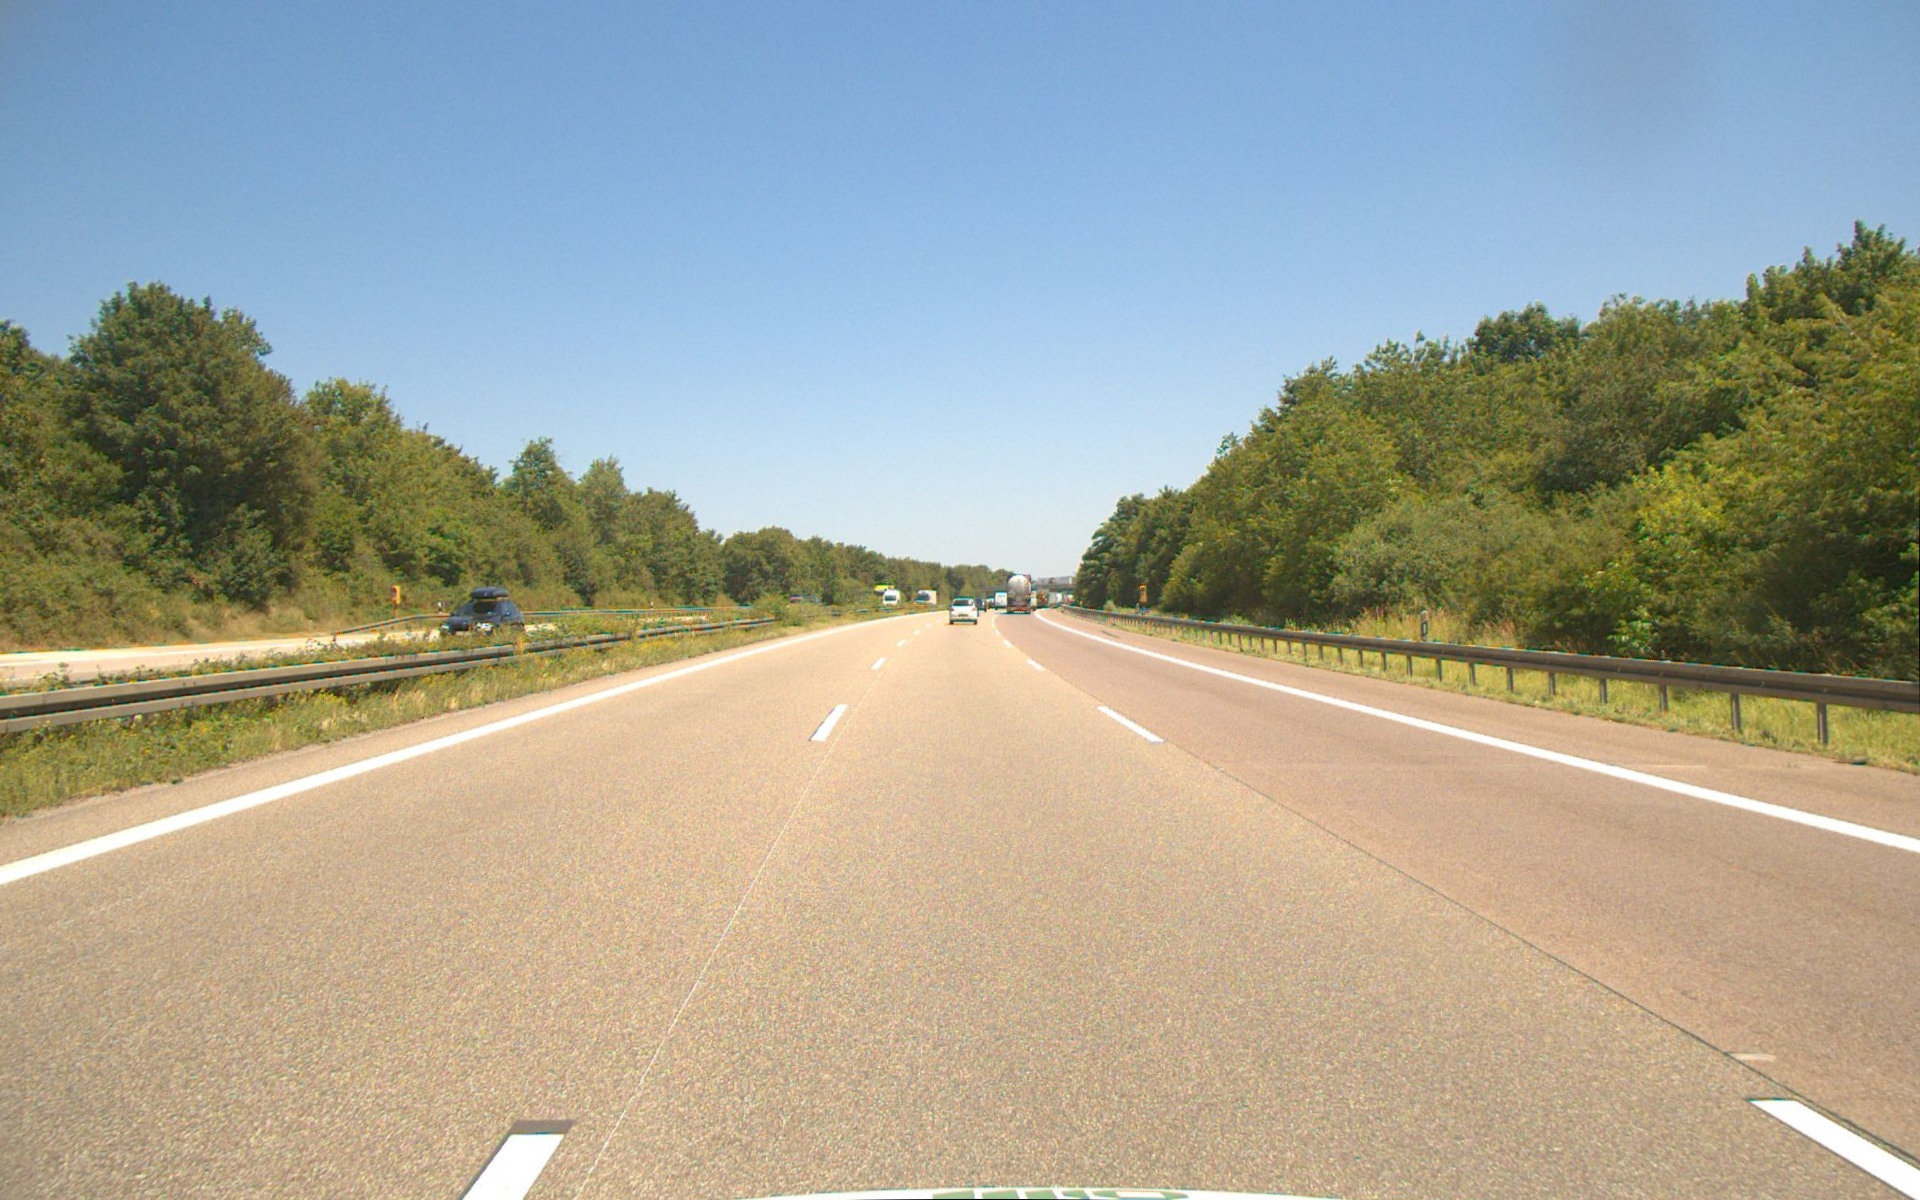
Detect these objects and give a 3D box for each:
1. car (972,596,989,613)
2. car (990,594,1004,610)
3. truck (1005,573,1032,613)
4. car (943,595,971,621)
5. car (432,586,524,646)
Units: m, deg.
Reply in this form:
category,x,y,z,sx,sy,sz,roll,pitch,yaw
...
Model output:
category,x,y,z,sx,sy,sz,roll,pitch,yaw
car,2.531,0.572,201.643,1.952,2.049,4.001,-1,0,2
car,5.573,0.286,247.094,1.952,2.384,4.388,0,0,2
truck,6.246,-0.711,174.204,2.682,4.123,10.458,0,0,3
car,-0.187,0.494,98.685,1.594,1.505,3.999,0,0,-1
car,-16.347,0.520,56.284,1.789,1.939,4.955,0,0,-2
